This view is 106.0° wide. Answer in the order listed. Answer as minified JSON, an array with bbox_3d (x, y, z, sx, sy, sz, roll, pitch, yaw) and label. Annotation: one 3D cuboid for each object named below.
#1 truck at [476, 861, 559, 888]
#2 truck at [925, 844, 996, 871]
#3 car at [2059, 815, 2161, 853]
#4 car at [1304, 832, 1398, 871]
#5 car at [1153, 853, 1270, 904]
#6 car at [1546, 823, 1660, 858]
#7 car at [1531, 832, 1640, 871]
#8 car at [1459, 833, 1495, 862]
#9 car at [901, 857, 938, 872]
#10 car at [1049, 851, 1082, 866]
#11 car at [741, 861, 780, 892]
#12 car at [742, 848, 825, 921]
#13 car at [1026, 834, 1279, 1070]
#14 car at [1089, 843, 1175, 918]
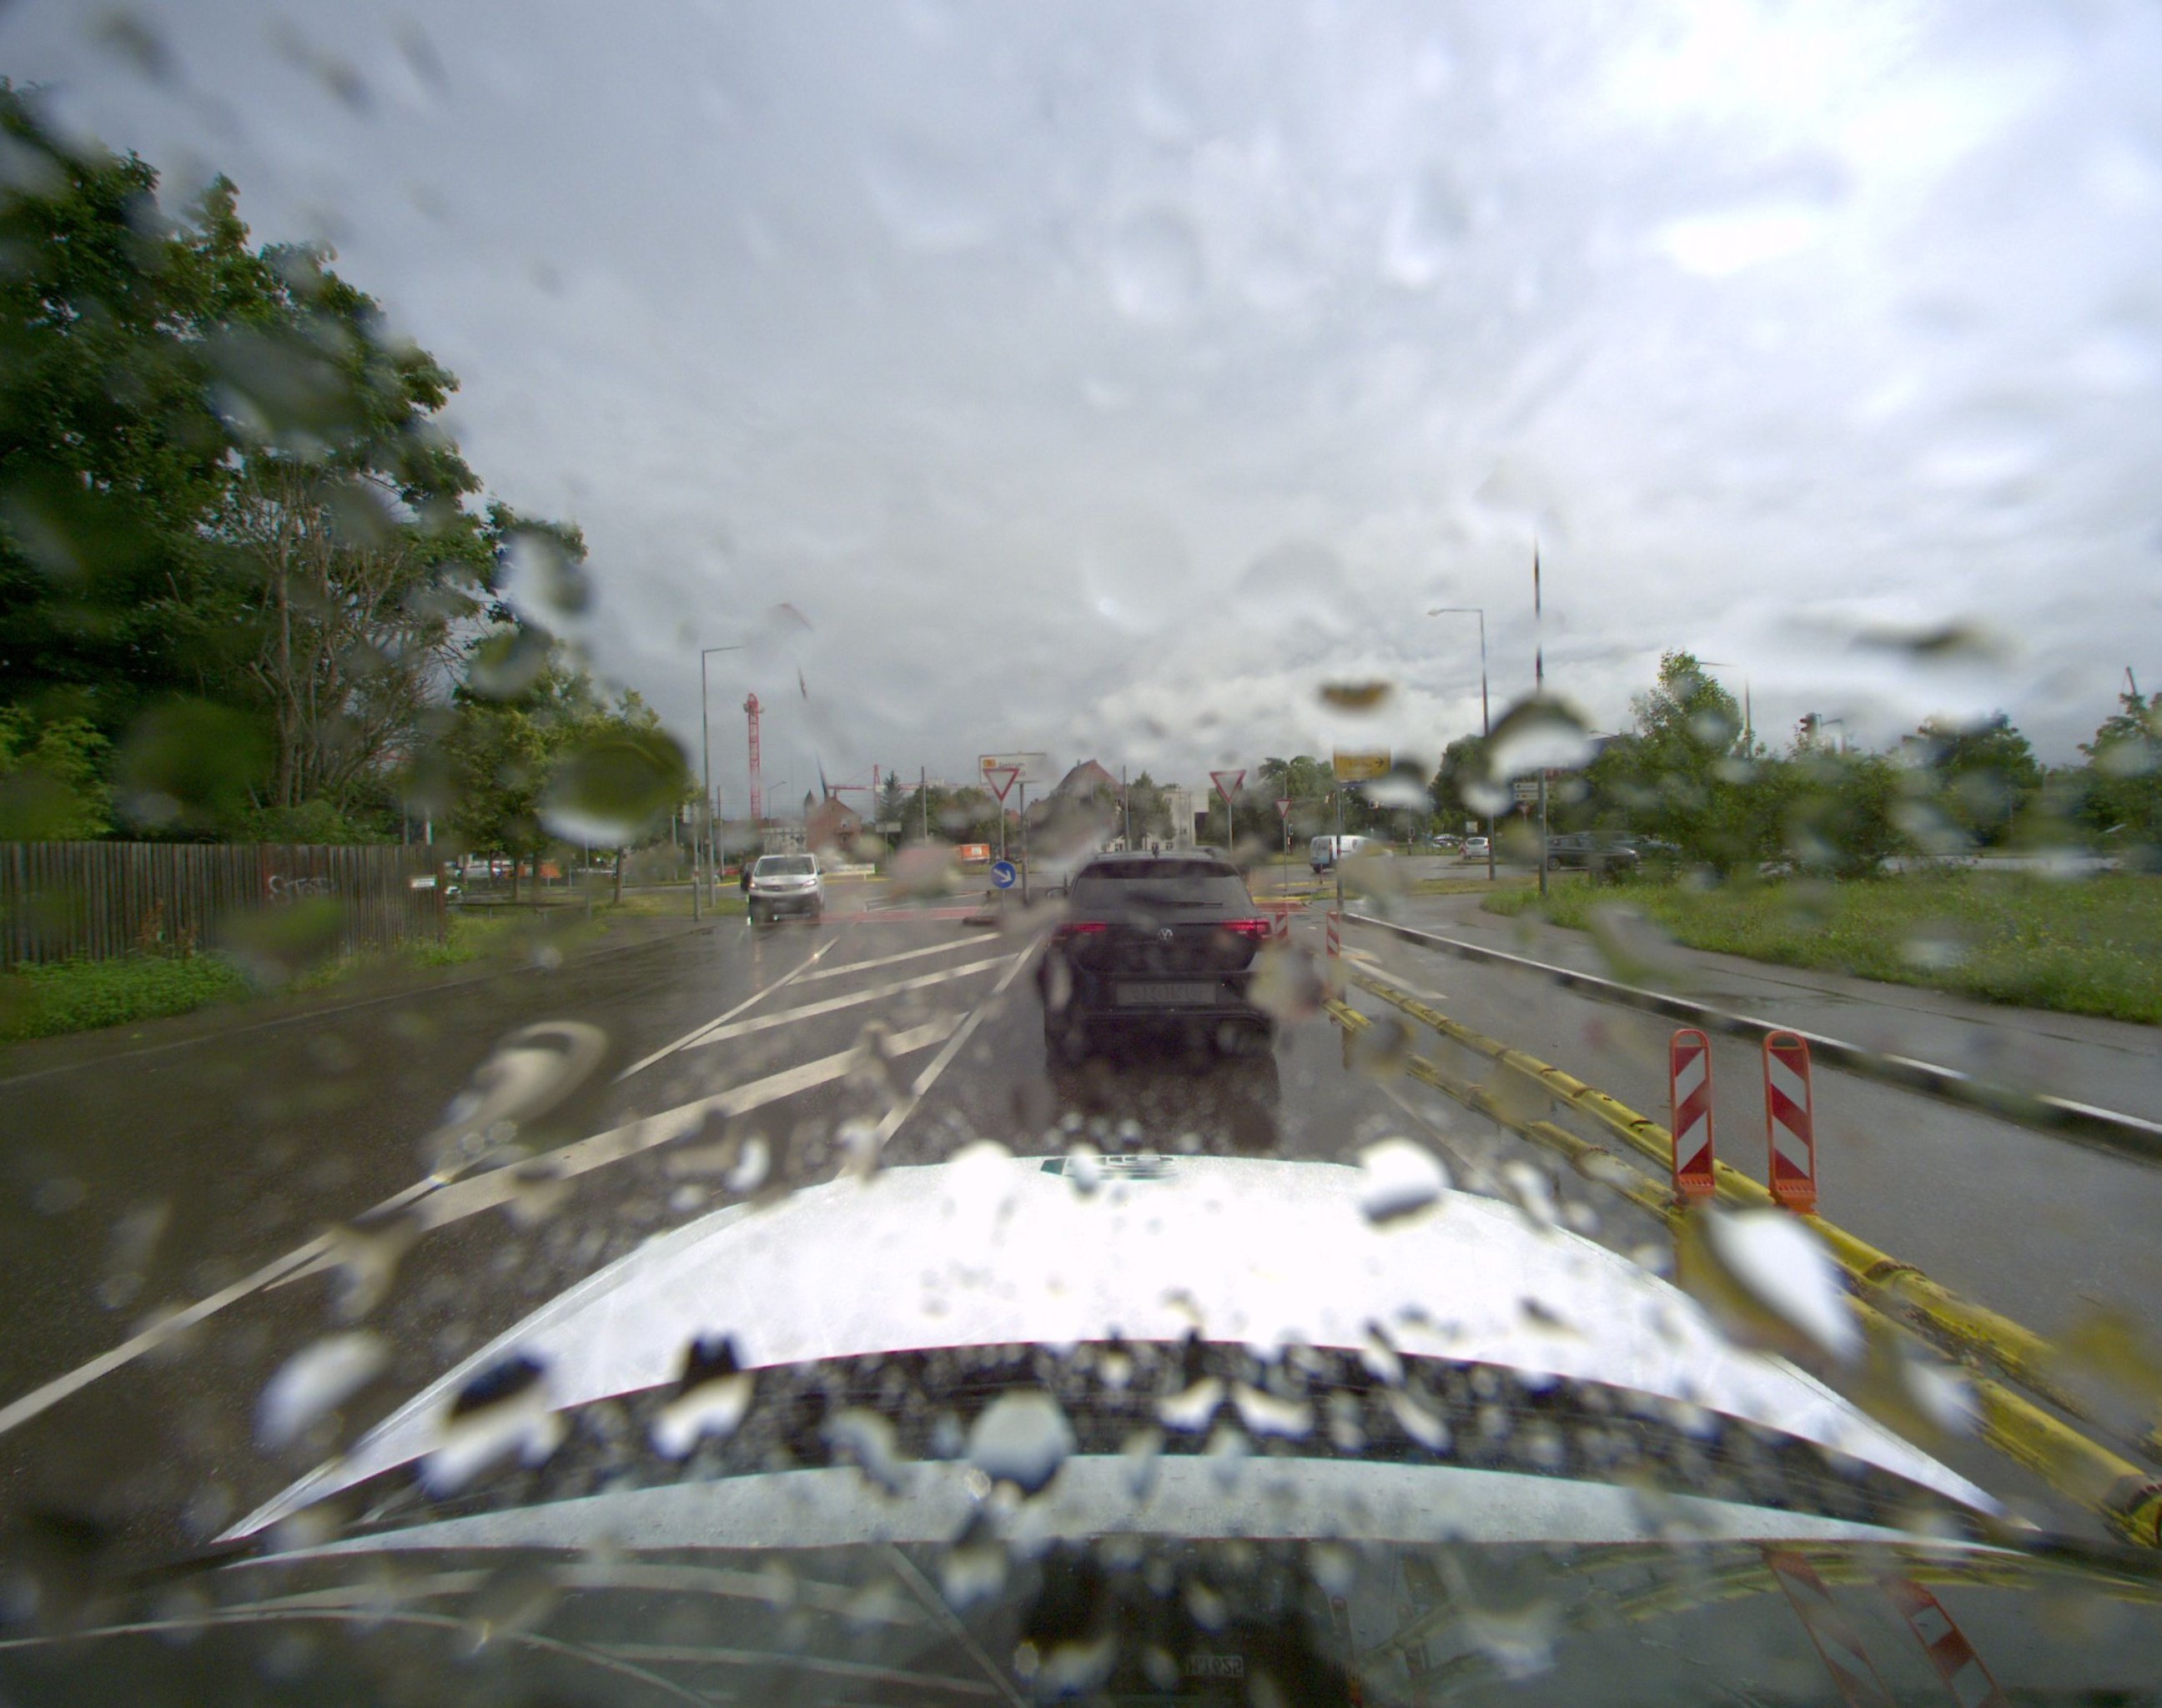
[{"bbox_3d":[-57.148,2.050,82.651,6.673,2.442,2.437,-2,0,3],"label":"truck"},{"bbox_3d":[-12.774,0.312,86.534,7.120,2.650,2.304,-2,0,-35],"label":"truck"},{"bbox_3d":[47.184,-0.921,36.574,1.925,1.560,4.064,-2,0,-42],"label":"car"},{"bbox_3d":[13.653,-0.151,41.118,4.411,1.809,1.855,-2,0,-25],"label":"car"},{"bbox_3d":[5.135,0.924,31.878,4.375,1.725,1.978,-2,0,-35],"label":"car"},{"bbox_3d":[25.149,-0.648,39.425,4.350,1.548,1.881,-1,0,24],"label":"car"},{"bbox_3d":[22.506,-0.102,36.501,3.907,1.644,1.680,-1,0,21],"label":"car"},{"bbox_3d":[26.682,-0.438,54.809,1.975,1.830,4.025,-2,0,28],"label":"car"},{"bbox_3d":[-17.379,1.124,87.522,3.523,1.584,1.549,-2,0,-38],"label":"car"},{"bbox_3d":[-1.901,0.530,97.824,3.864,1.584,1.565,-2,0,-4],"label":"car"},{"bbox_3d":[-18.912,1.297,47.944,1.743,1.664,4.074,-3,0,-26],"label":"car"},{"bbox_3d":[-8.776,0.824,24.409,1.892,1.876,5.105,-2,0,-16],"label":"car"},{"bbox_3d":[0.470,0.671,7.392,1.703,1.574,3.681,-1,0,-1],"label":"car"},{"bbox_3d":[1.068,0.540,18.674,1.729,1.514,3.603,-2,0,0],"label":"car"}]
